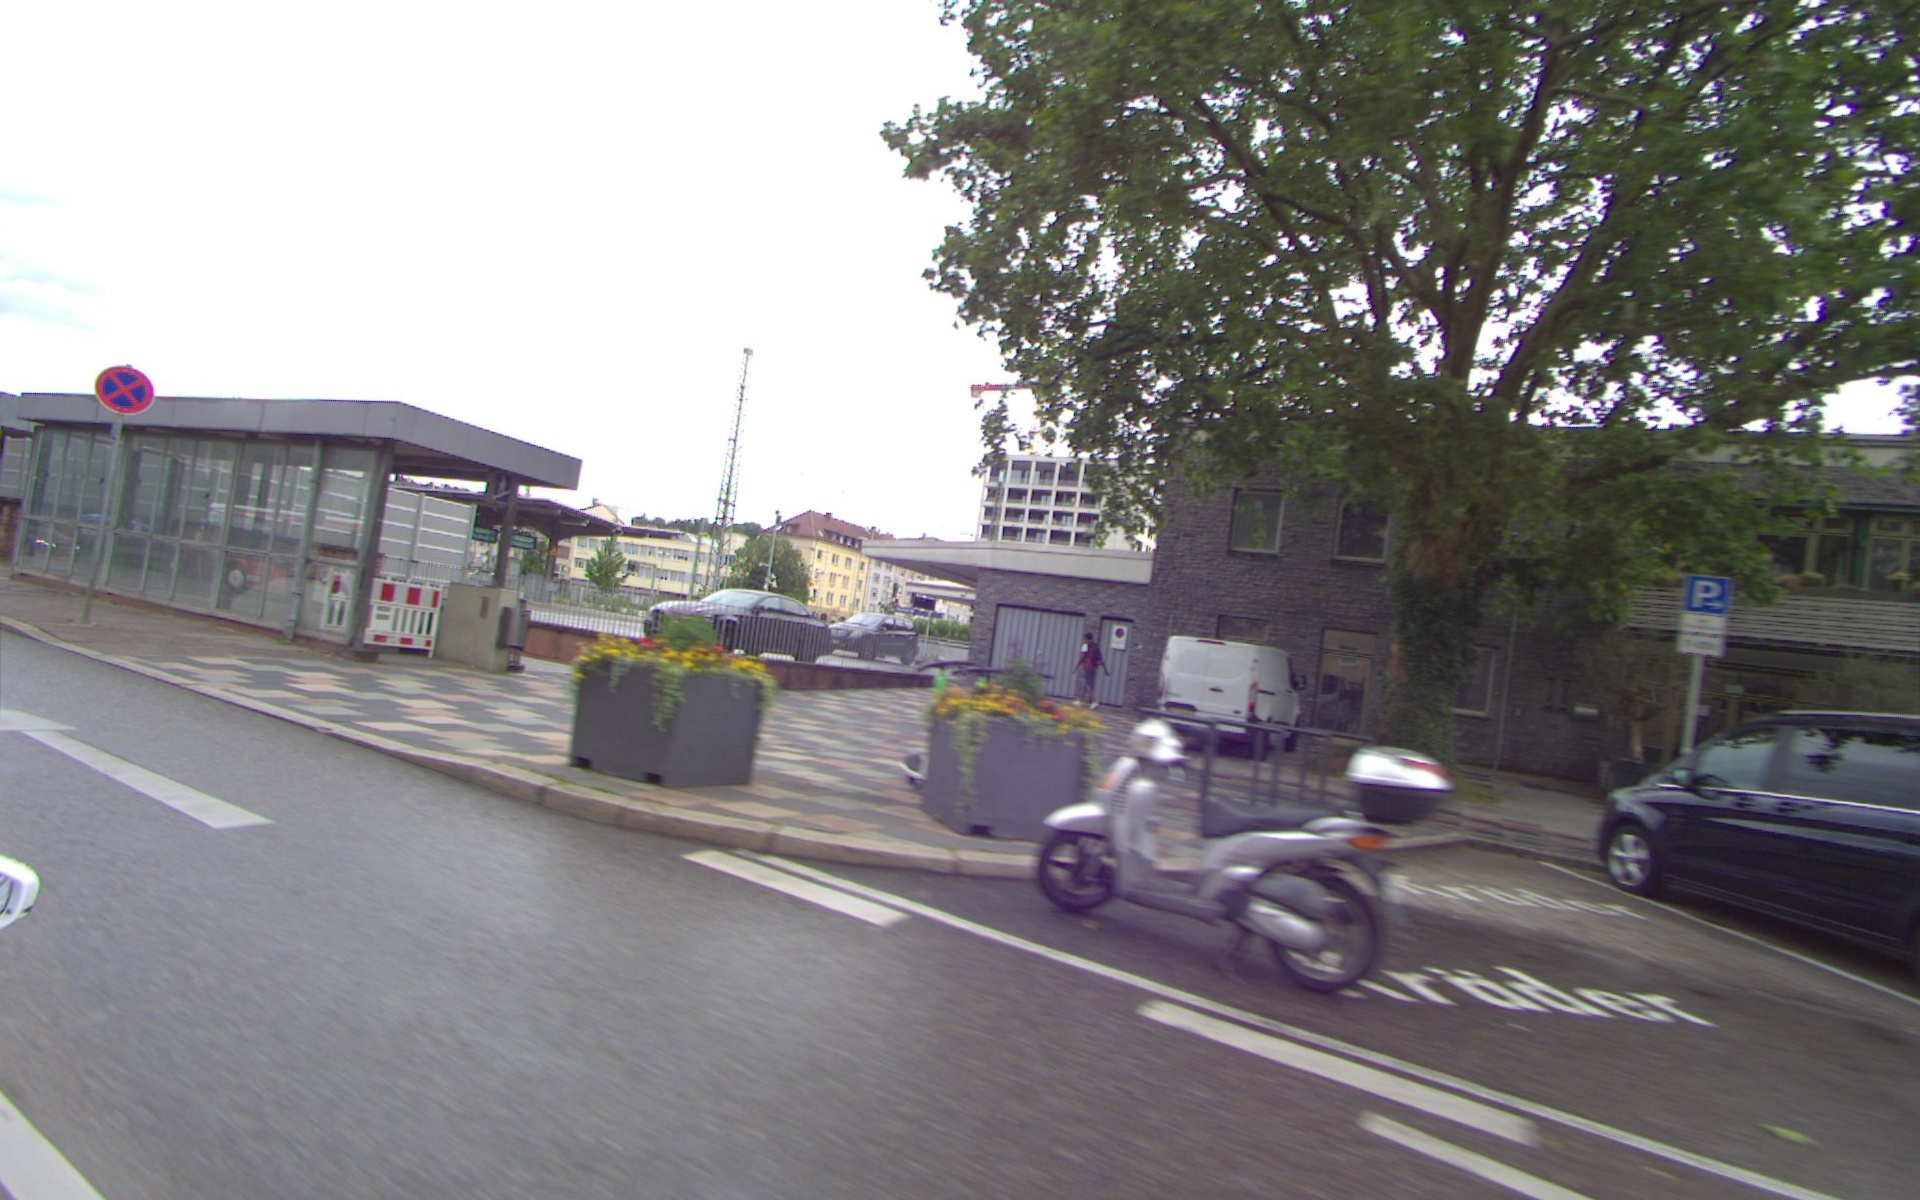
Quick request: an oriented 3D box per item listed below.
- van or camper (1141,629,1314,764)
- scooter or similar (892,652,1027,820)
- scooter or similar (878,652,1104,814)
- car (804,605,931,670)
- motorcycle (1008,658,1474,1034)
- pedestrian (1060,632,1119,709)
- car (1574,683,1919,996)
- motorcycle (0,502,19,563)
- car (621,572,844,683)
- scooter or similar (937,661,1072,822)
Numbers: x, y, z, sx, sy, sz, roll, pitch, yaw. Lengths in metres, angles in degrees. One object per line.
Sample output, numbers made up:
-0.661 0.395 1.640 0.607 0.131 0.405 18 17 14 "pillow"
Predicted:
5.188 1.808 19.054 1.987 2.014 4.288 7 -2 29 "van or camper"
-0.031 1.080 8.268 0.410 1.167 1.255 10 -3 -27 "scooter or similar"
0.289 1.195 9.213 1.639 1.167 1.068 6 -4 31 "scooter or similar"
-3.346 1.451 37.497 2.075 1.896 4.691 7 -2 33 "car"
1.385 1.126 5.177 2.074 1.368 0.644 7 -1 32 "motorcycle"
3.223 1.753 24.995 0.981 1.768 0.878 7 -1 32 "pedestrian"
7.515 1.870 8.044 2.070 1.896 4.701 7 -1 -1 "car"
-22.977 -1.687 23.375 2.415 1.363 0.793 7 -1 29 "motorcycle"
-4.787 0.696 21.975 2.072 1.896 4.698 7 -2 27 "car"
0.349 1.153 8.483 0.410 1.167 1.255 10 -4 -27 "scooter or similar"
